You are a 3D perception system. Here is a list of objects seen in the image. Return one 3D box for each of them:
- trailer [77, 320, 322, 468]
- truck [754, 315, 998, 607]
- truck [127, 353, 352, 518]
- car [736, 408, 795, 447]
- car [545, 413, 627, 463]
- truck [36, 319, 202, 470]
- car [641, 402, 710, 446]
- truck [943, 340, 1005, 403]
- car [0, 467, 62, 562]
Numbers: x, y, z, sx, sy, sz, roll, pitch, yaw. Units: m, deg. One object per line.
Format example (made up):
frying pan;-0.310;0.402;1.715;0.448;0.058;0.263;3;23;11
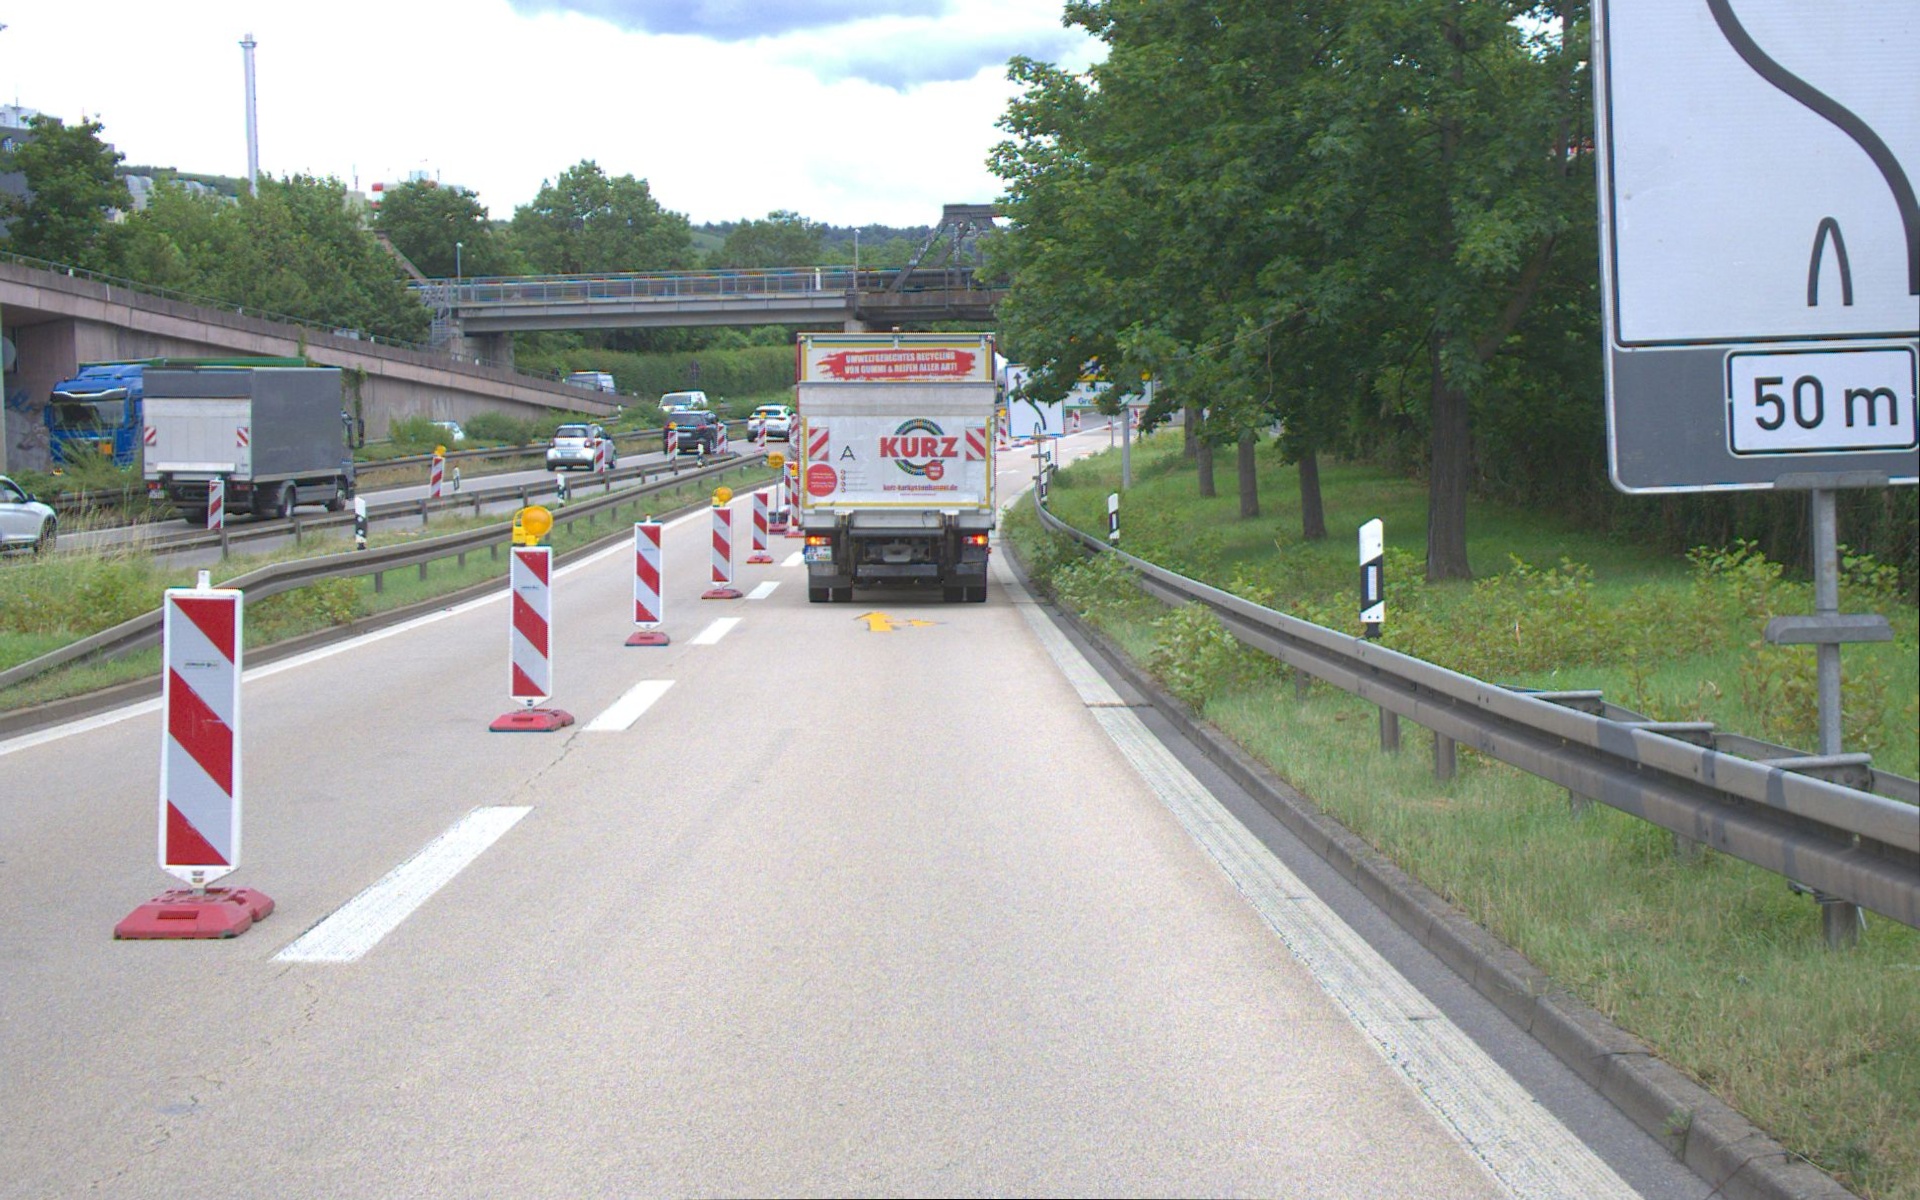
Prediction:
trailer;-23.485;-6.406;107.257;2.772;4.279;13.978;0;3;8
truck;-1.085;-1.901;47.409;3.051;3.660;7.928;0;2;0
truck;-16.595;-3.850;79.792;3.051;3.643;7.395;0;3;5
car;-8.223;-7.308;145.593;1.994;1.612;4.000;0;3;4
car;-12.379;-5.374;113.883;1.994;1.612;4.000;0;3;4
truck;-24.445;-5.975;100.194;2.753;4.257;5.502;0;3;8
car;-10.745;-6.674;130.210;1.994;1.612;4.000;0;3;4
truck;0.882;-14.139;213.359;3.287;3.839;7.665;0;3;4
car;-18.741;-1.611;64.870;1.994;1.706;4.100;0;3;9
